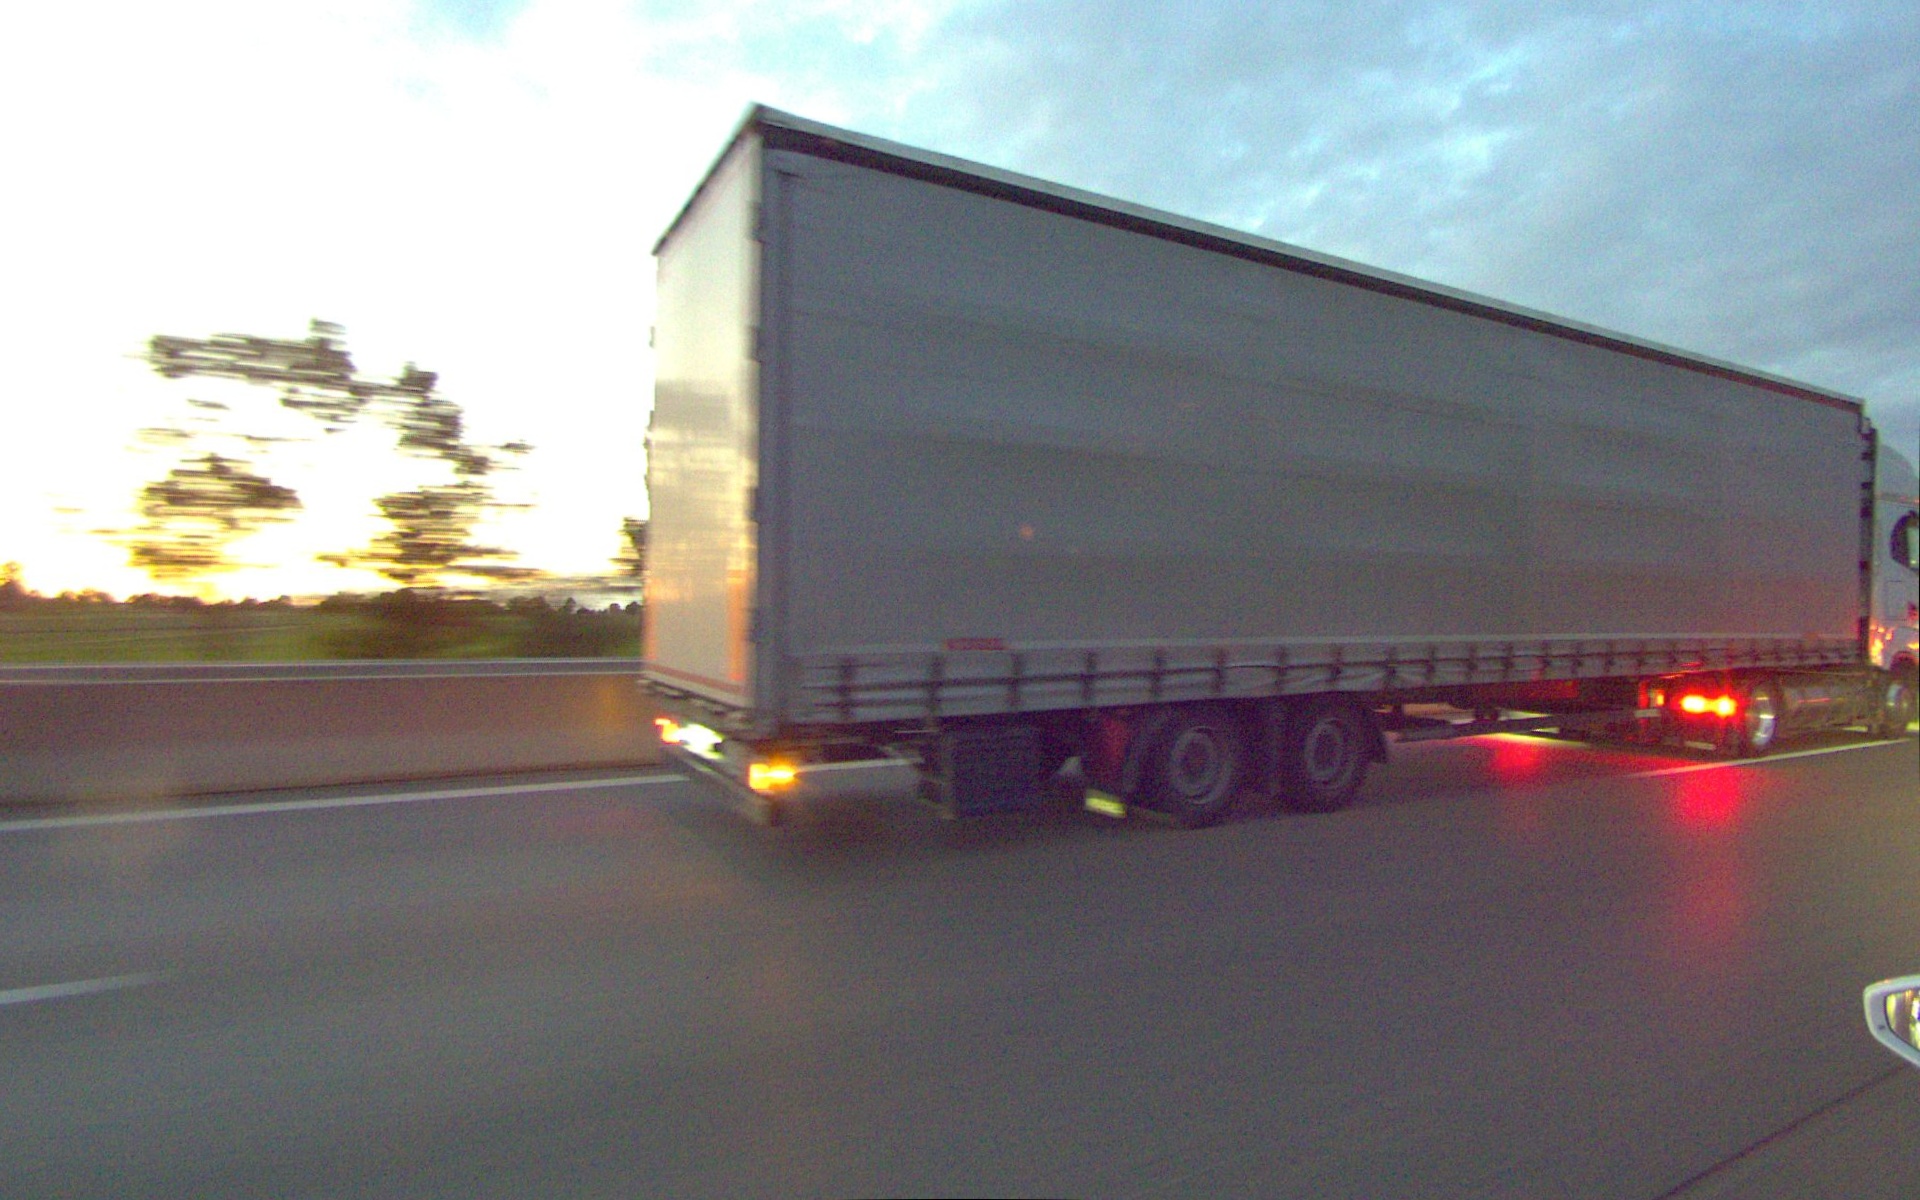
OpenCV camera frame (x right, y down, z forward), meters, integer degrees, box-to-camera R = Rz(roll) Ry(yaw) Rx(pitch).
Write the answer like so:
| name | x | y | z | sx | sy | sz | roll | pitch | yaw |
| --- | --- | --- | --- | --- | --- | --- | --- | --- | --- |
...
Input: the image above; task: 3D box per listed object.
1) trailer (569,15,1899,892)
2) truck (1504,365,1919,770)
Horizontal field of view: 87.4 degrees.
| name | x | y | z | sx | sy | sz | roll | pitch | yaw |
| --- | --- | --- | --- | --- | --- | --- | --- | --- | --- |
| trailer | 4.164 | -0.454 | 9.505 | 14.352 | 4.139 | 2.781 | 2 | -1 | -30 |
| truck | 10.175 | -0.226 | 12.965 | 6.030 | 4.146 | 2.765 | 2 | -1 | -30 |
